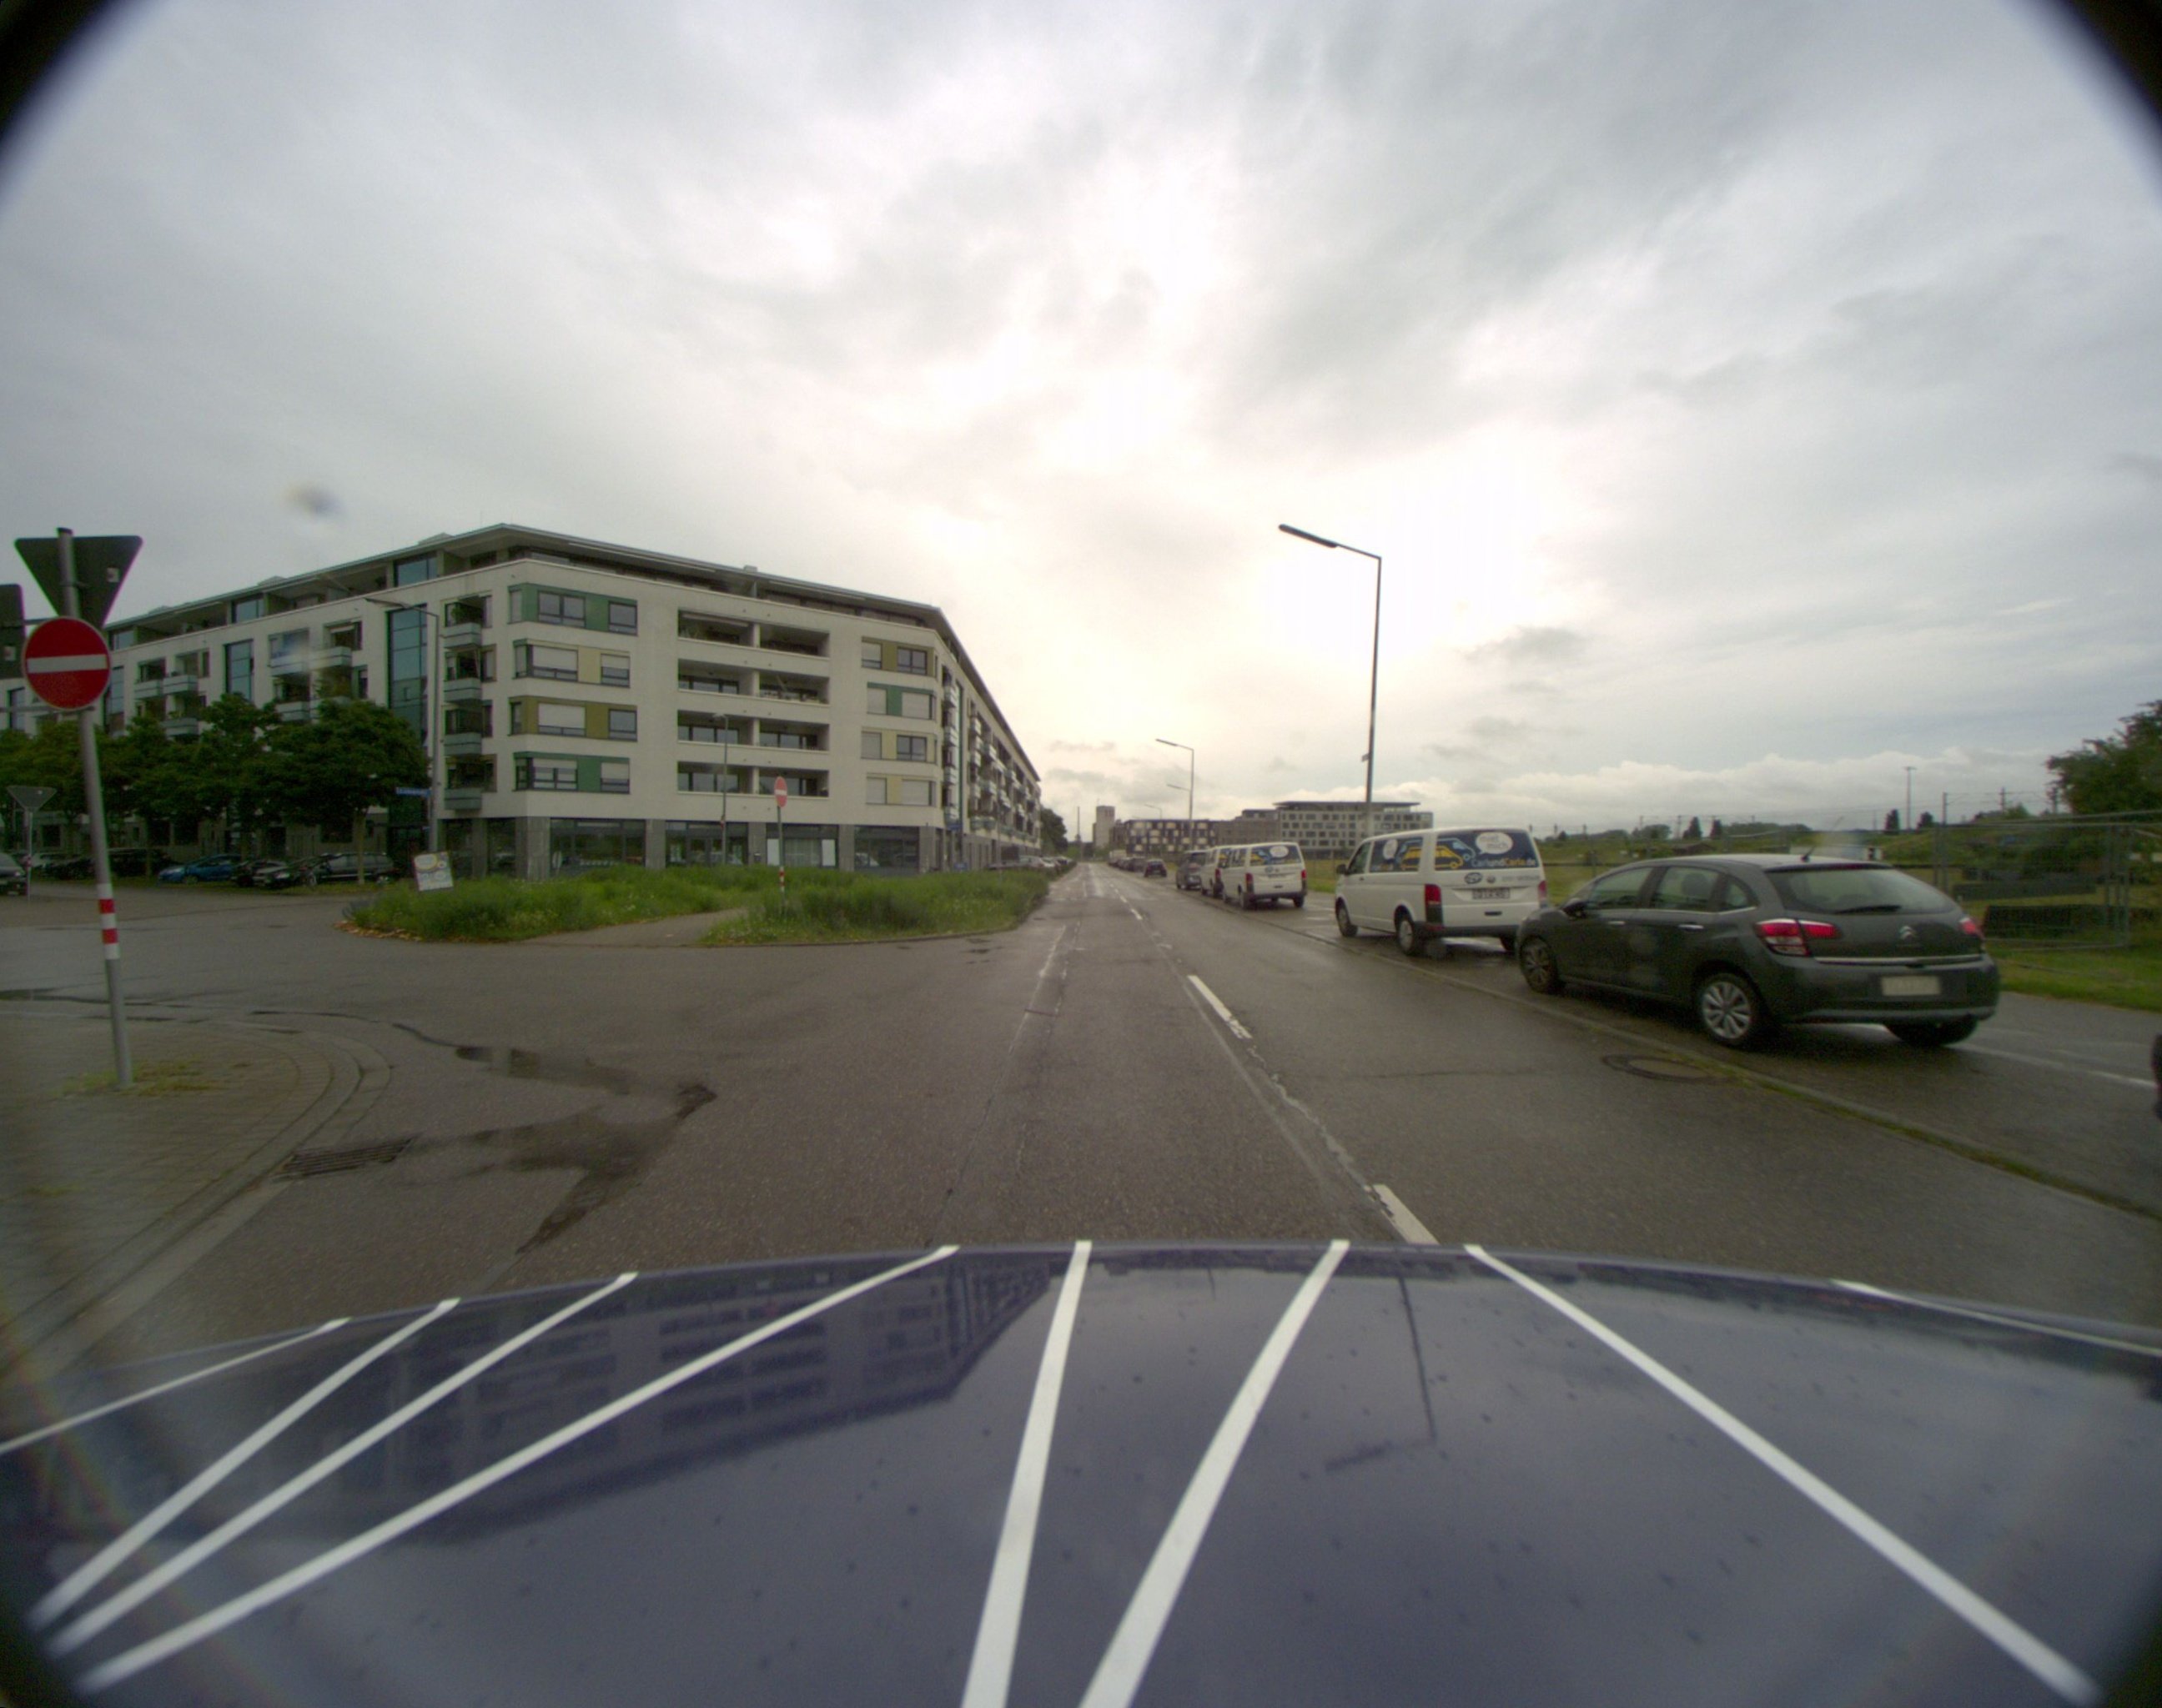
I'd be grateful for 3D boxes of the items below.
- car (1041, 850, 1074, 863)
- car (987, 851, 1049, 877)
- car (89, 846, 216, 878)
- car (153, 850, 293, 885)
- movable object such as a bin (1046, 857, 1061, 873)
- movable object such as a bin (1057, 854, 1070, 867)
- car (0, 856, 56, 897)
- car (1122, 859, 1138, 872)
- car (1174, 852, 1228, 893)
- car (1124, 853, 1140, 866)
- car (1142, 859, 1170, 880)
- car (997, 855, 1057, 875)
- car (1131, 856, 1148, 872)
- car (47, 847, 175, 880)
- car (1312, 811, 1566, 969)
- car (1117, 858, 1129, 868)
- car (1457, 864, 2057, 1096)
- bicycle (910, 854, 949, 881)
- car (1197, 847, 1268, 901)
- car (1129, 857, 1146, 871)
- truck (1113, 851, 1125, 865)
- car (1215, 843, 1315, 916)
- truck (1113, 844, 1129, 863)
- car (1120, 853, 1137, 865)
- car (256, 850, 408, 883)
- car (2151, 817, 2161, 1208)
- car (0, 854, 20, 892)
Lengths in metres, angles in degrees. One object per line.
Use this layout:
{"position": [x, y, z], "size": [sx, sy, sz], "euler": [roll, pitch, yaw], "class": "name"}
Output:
{"position": [-3.591, 0.419, 118.196], "size": [5.062, 1.917, 1.982], "euler": [2, 0, 0], "class": "car"}
{"position": [-4.357, 0.698, 53.185], "size": [4.100, 1.614, 1.966], "euler": [2, 1, -1], "class": "car"}
{"position": [-51.923, 0.410, 42.595], "size": [1.809, 1.744, 4.110], "euler": [0, 0, 23], "class": "car"}
{"position": [-43.031, 0.619, 38.239], "size": [1.736, 1.641, 4.358], "euler": [0, 0, 28], "class": "car"}
{"position": [-2.650, 1.025, 73.728], "size": [1.303, 1.517, 1.582], "euler": [0, 0, 1], "class": "movable object such as a bin"}
{"position": [-2.055, 0.803, 89.947], "size": [1.499, 1.484, 1.155], "euler": [2, 1, 1], "class": "movable object such as a bin"}
{"position": [-38.768, 0.783, 26.963], "size": [3.817, 1.407, 2.003], "euler": [0, 0, 23], "class": "car"}
{"position": [6.525, 1.524, 101.140], "size": [1.842, 1.519, 4.670], "euler": [-2, 1, 1], "class": "car"}
{"position": [5.864, 0.855, 37.757], "size": [1.961, 1.890, 4.995], "euler": [-1, 0, 1], "class": "car"}
{"position": [6.401, 0.693, 95.568], "size": [1.730, 1.566, 4.210], "euler": [-1, 1, -1], "class": "car"}
{"position": [6.129, 1.236, 62.236], "size": [1.852, 1.552, 4.152], "euler": [-3, 0, 1], "class": "car"}
{"position": [-4.076, 0.846, 58.110], "size": [4.420, 1.397, 1.910], "euler": [2, 1, 0], "class": "car"}
{"position": [6.476, 1.097, 84.099], "size": [1.756, 1.683, 4.882], "euler": [0, 0, 3], "class": "car"}
{"position": [-54.716, 0.494, 42.960], "size": [1.809, 1.744, 4.110], "euler": [0, 0, 23], "class": "car"}
{"position": [5.925, 0.515, 13.564], "size": [1.947, 2.223, 5.557], "euler": [0, 0, 0], "class": "car"}
{"position": [6.654, 1.415, 120.621], "size": [1.676, 1.454, 4.156], "euler": [0, 0, 1], "class": "car"}
{"position": [5.808, 0.893, 7.621], "size": [1.688, 1.493, 4.892], "euler": [0, 0, 0], "class": "car"}
{"position": [-8.571, 0.756, 43.005], "size": [2.189, 1.514, 0.631], "euler": [1, 1, 21], "class": "bicycle"}
{"position": [5.954, 0.738, 30.530], "size": [1.899, 2.002, 5.258], "euler": [0, 0, 1], "class": "car"}
{"position": [6.629, 1.167, 89.570], "size": [1.757, 1.581, 4.133], "euler": [0, 0, 1], "class": "car"}
{"position": [7.393, 0.821, 148.637], "size": [2.180, 2.591, 6.131], "euler": [-1, 0, 1], "class": "truck"}
{"position": [5.718, 0.724, 24.349], "size": [1.964, 2.046, 5.274], "euler": [-1, 0, 1], "class": "car"}
{"position": [6.731, -0.081, 128.437], "size": [2.442, 3.050, 6.700], "euler": [-2, 0, 0], "class": "truck"}
{"position": [6.674, 0.652, 107.239], "size": [1.857, 1.598, 4.988], "euler": [-3, 0, 0], "class": "car"}
{"position": [-33.846, 0.512, 34.511], "size": [1.809, 1.424, 4.531], "euler": [0, 0, 23], "class": "car"}
{"position": [5.741, 0.713, 1.243], "size": [1.944, 1.757, 4.331], "euler": [0, 0, 2], "class": "car"}
{"position": [-42.789, 0.724, 28.783], "size": [4.455, 1.423, 2.003], "euler": [0, 0, 22], "class": "car"}
